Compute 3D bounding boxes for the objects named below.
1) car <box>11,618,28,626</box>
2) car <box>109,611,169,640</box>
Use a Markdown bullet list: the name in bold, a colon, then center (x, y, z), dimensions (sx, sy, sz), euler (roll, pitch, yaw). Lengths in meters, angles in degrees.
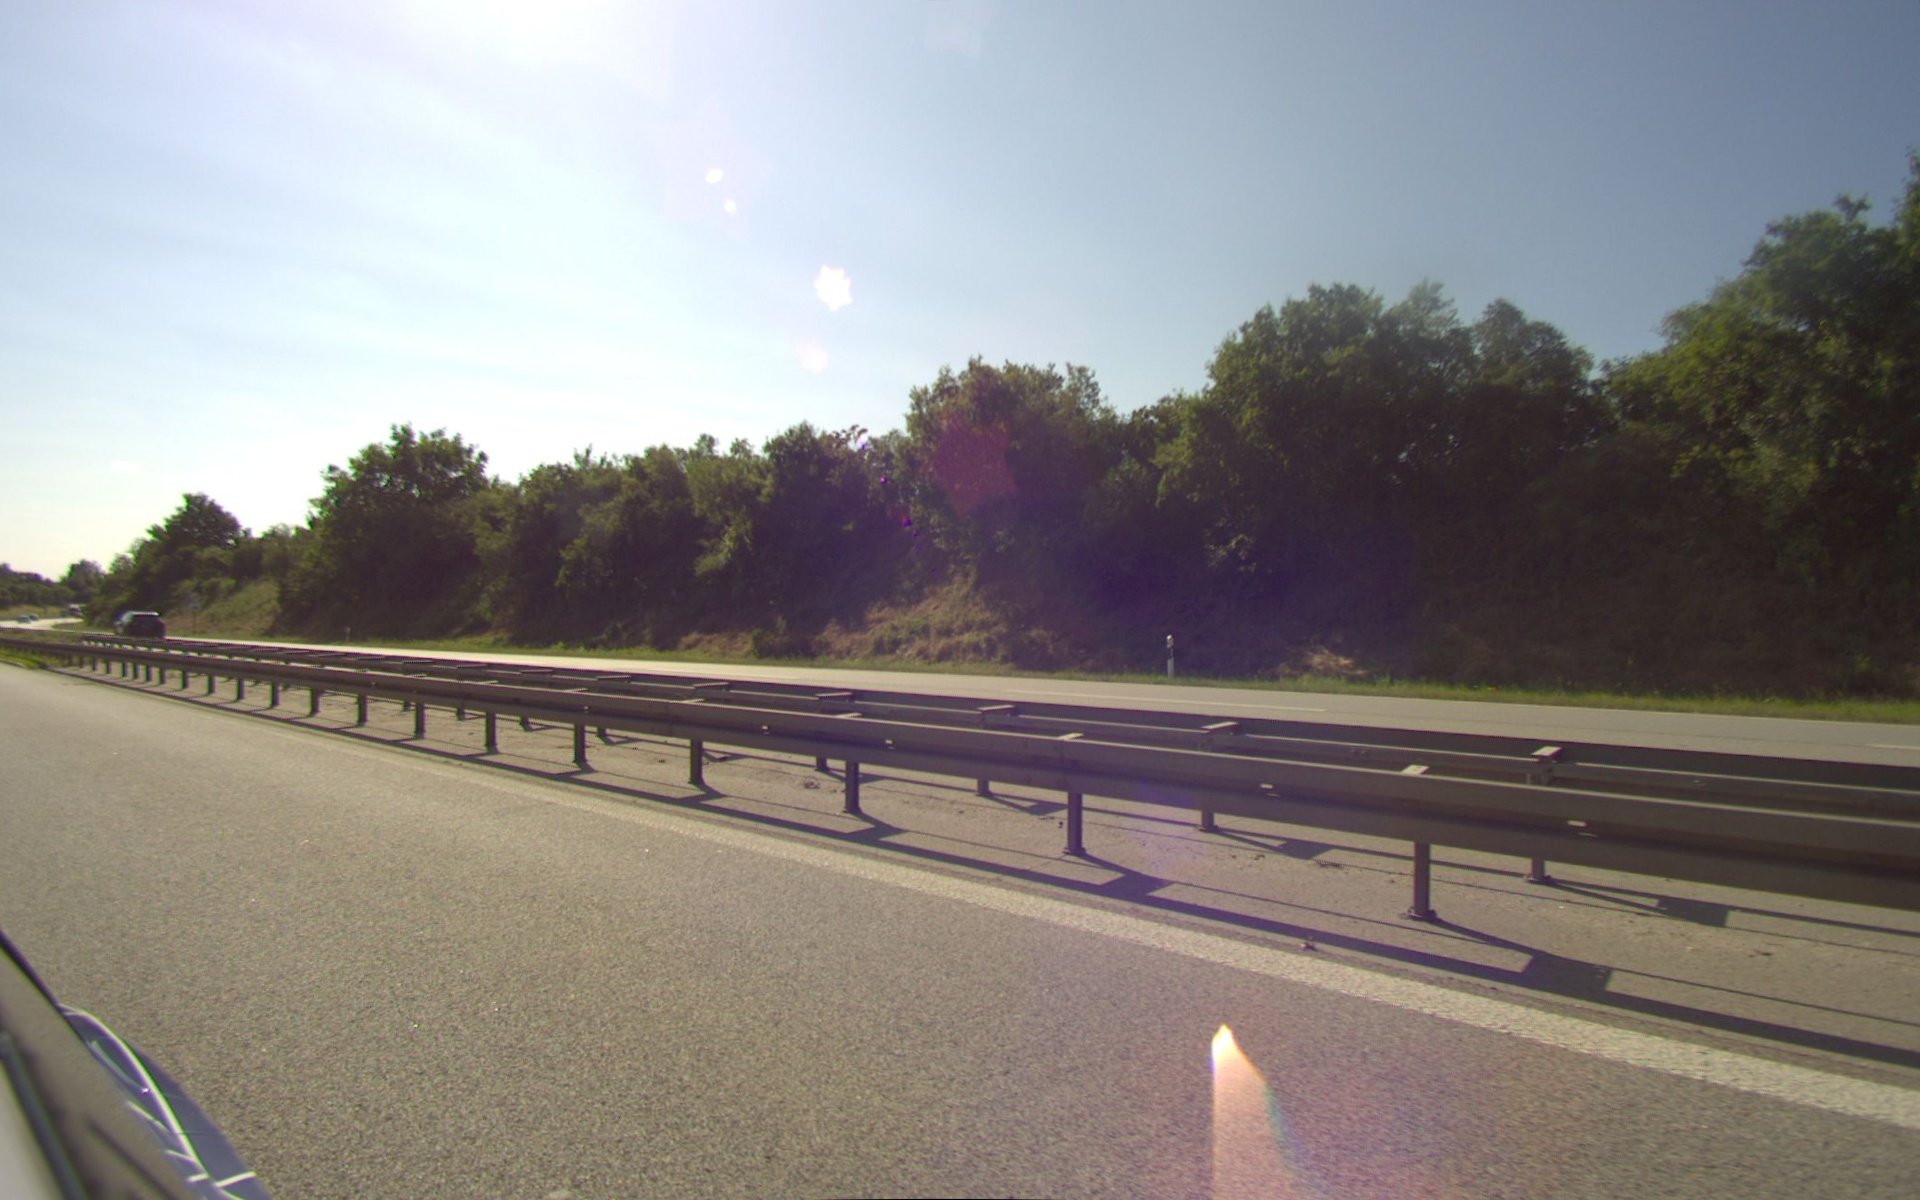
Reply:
- **car**: center (-171.669, 4.011, 184.710), dimensions (4.412, 1.450, 1.819), euler (-1, -3, 42)
- **car**: center (-49.734, 1.539, 61.296), dimensions (5.081, 1.657, 1.972), euler (0, -2, 41)
